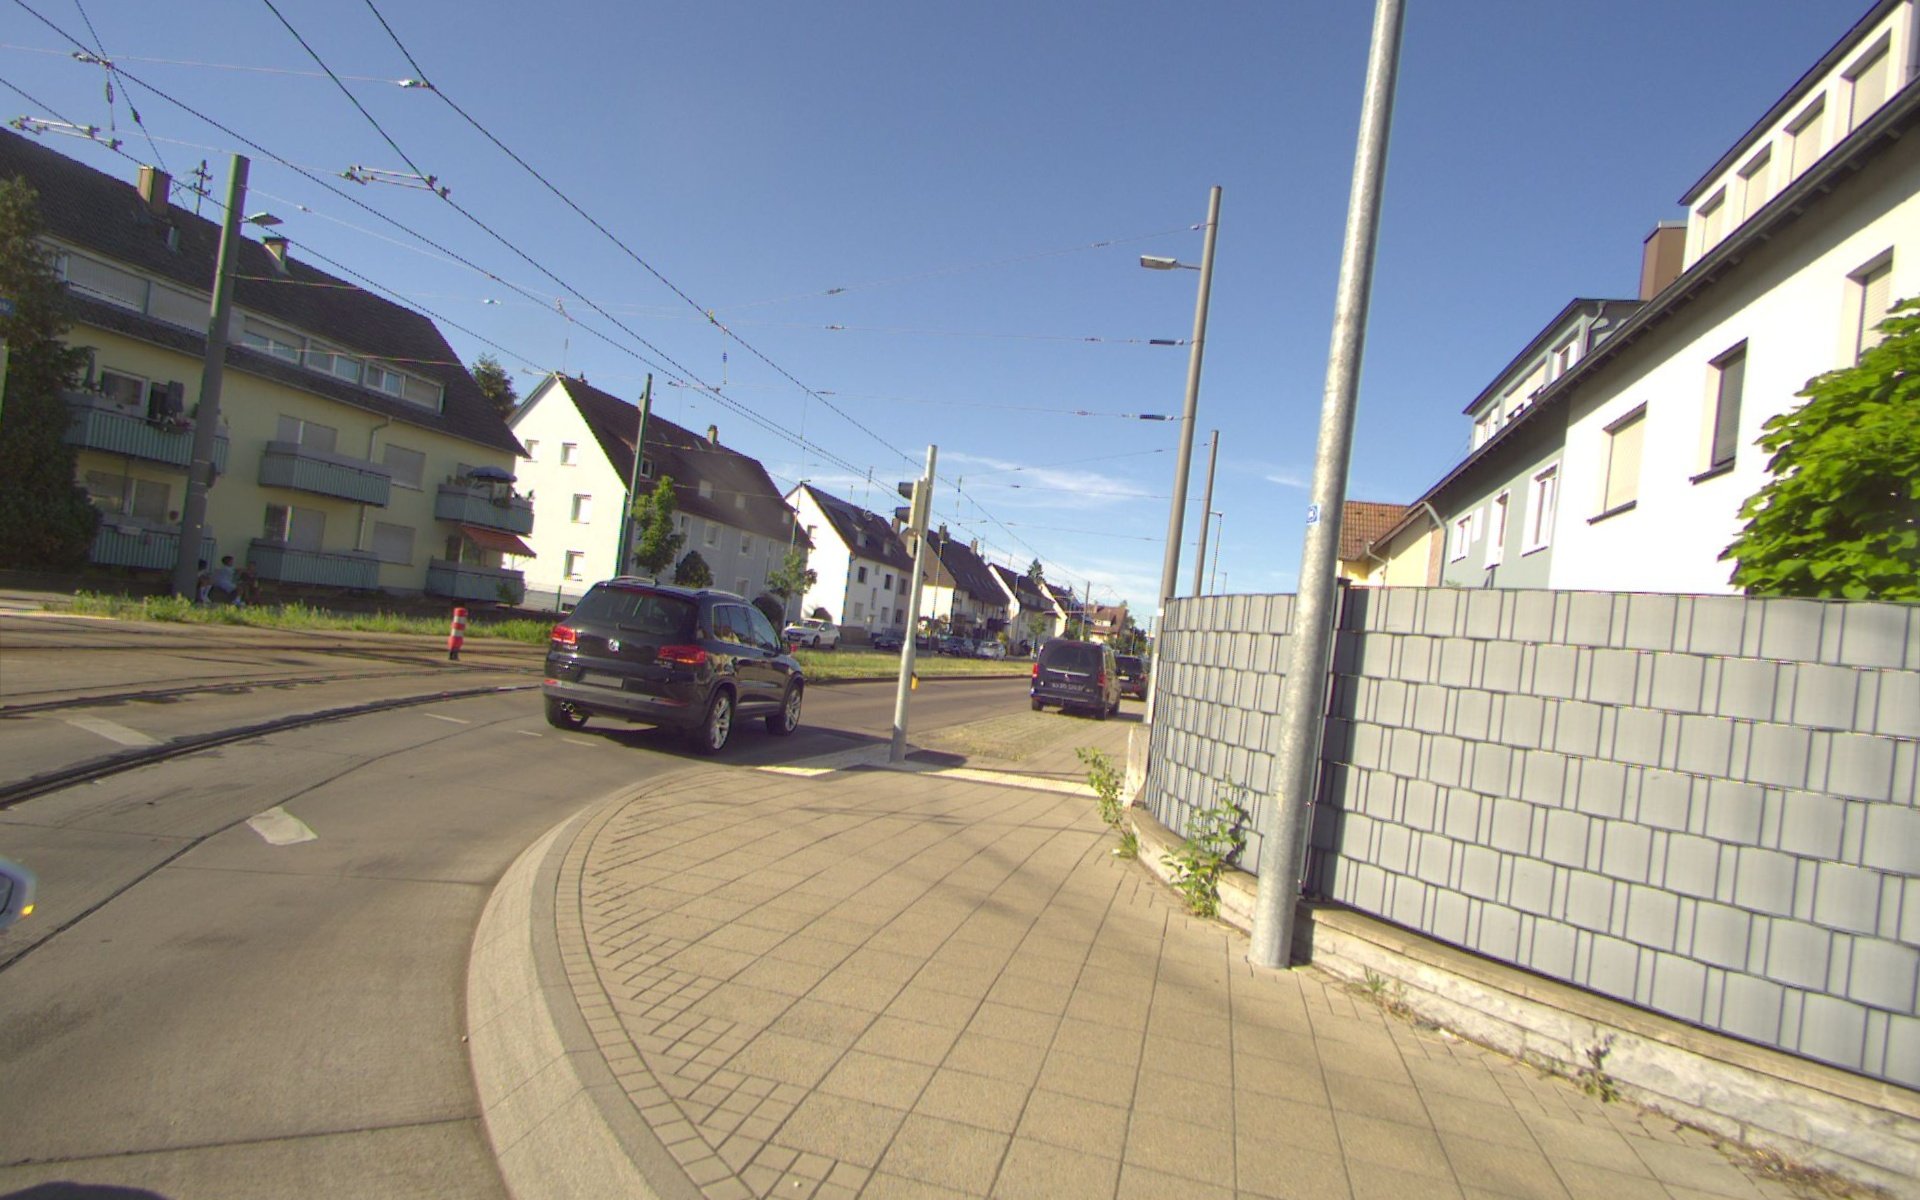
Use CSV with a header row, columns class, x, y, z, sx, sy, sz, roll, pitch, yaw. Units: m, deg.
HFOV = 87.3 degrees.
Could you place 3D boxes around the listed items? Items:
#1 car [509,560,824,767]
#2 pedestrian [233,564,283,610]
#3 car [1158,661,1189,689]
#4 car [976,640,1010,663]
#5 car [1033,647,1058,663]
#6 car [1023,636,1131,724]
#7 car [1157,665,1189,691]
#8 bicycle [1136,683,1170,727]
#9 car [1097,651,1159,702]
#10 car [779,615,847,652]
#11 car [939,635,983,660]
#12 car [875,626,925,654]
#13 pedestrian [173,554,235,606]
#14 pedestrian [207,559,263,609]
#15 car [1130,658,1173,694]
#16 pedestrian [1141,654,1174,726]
class,x,y,z,sx,sy,sz,roll,pitch,yaw
car,-3.090,0.714,11.677,1.784,1.689,4.263,9,-2,7
pedestrian,-17.299,-0.317,24.804,0.712,1.017,0.595,8,-3,-8
car,15.652,5.481,73.633,1.663,1.797,4.660,7,-2,17
car,2.471,3.887,75.380,1.525,1.428,3.663,7,-2,17
car,9.307,5.996,109.609,1.594,1.470,3.719,6,-2,21
car,3.202,2.091,26.492,1.931,1.857,4.933,7,-2,15
car,14.410,5.273,67.935,1.645,1.469,4.131,7,-2,16
bicycle,4.835,2.614,25.141,0.591,0.991,1.564,5,-3,17
car,6.756,3.036,40.069,1.825,1.678,4.478,7,-2,15
car,-7.474,1.763,51.576,1.666,1.535,4.219,6,-2,17
car,0.128,3.704,78.625,1.848,1.540,4.885,8,-2,19
car,-3.824,2.613,64.755,1.762,1.479,4.171,7,-2,17
pedestrian,-17.535,-0.451,23.339,0.804,1.058,0.689,7,-2,13
pedestrian,-17.420,-0.372,24.195,0.808,1.076,0.625,8,-3,-17
car,9.593,3.797,50.206,1.640,1.565,3.839,5,-3,17
pedestrian,5.040,2.275,25.624,0.573,1.743,0.715,7,-1,17
